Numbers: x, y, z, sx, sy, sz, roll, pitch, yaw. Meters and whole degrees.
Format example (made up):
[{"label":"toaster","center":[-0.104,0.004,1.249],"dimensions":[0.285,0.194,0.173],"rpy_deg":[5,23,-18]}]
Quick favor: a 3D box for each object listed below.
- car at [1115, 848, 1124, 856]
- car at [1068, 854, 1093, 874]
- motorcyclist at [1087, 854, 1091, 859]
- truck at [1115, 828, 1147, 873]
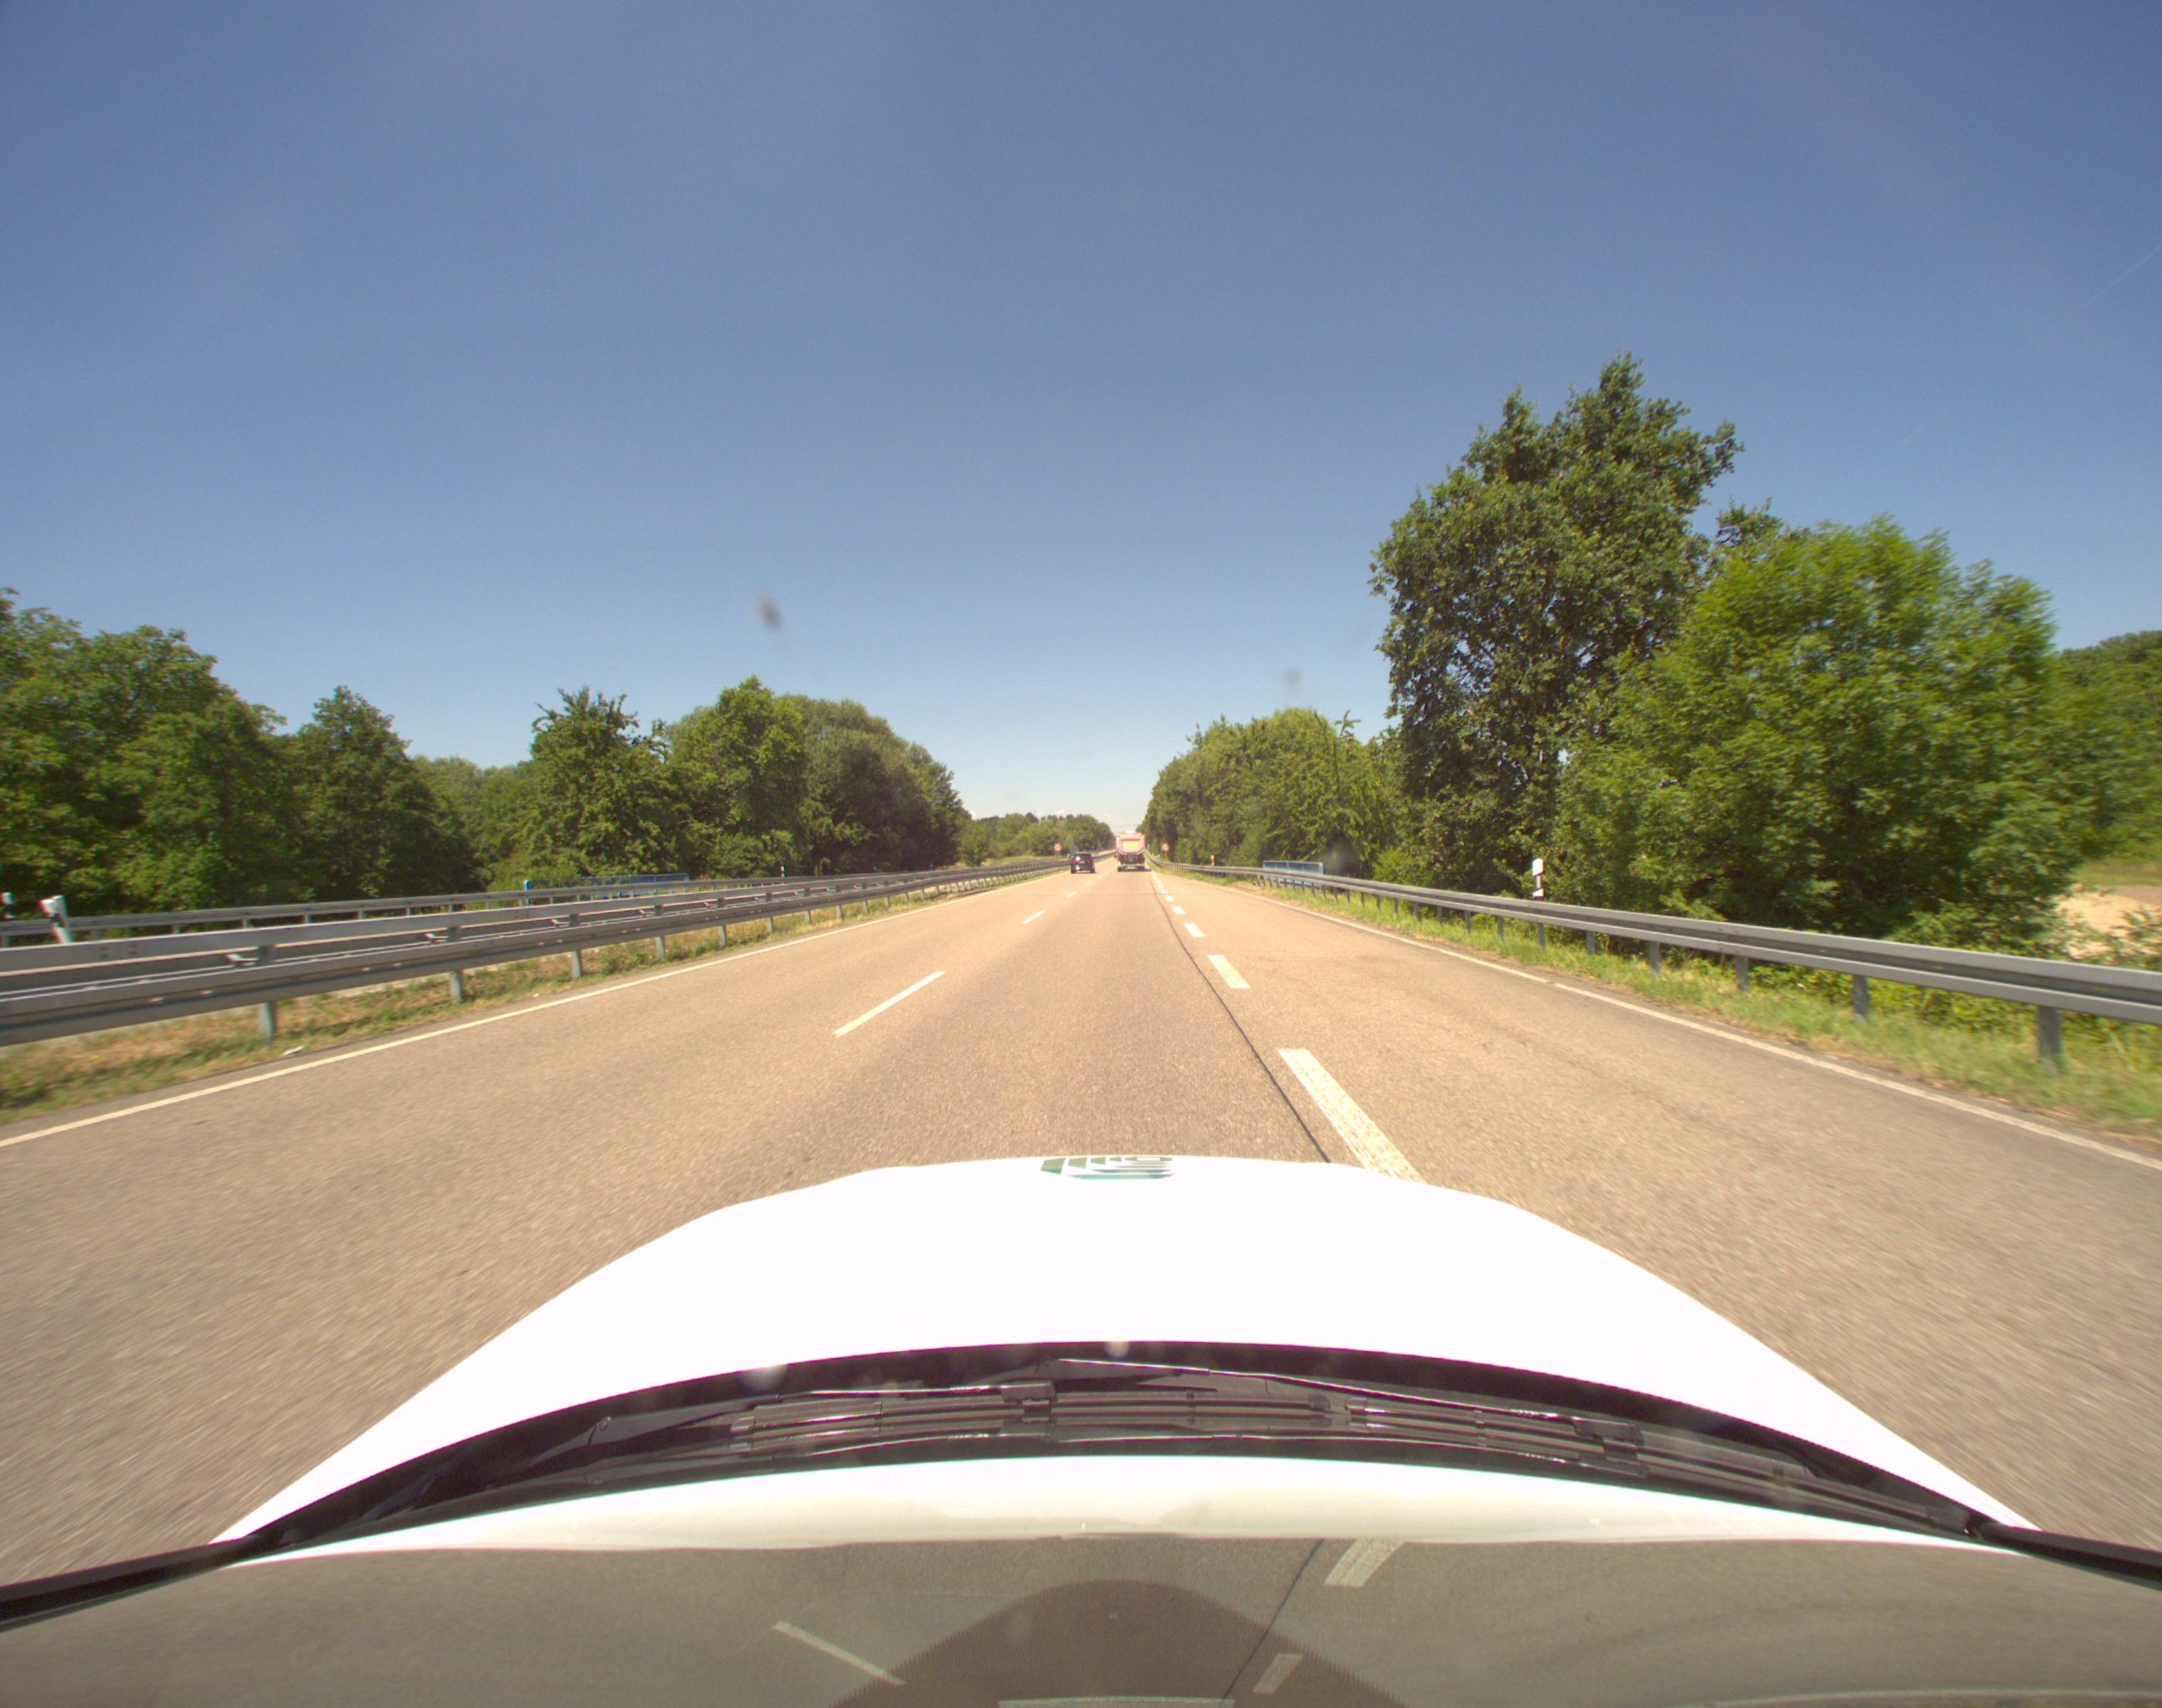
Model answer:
[{"label":"car","center":[8.797,-0.371,185.955],"dimensions":[1.850,1.718,4.003],"rpy_deg":[-1,-1,3]},{"label":"car","center":[-0.012,0.855,69.861],"dimensions":[1.850,1.671,4.003],"rpy_deg":[-1,-1,3]},{"label":"motorcyclist","center":[2.296,0.704,229.577],"dimensions":[0.941,1.617,0.810],"rpy_deg":[-3,0,3]},{"label":"truck","center":[4.757,-0.369,77.484],"dimensions":[2.709,3.930,12.381],"rpy_deg":[-1,0,3]}]
